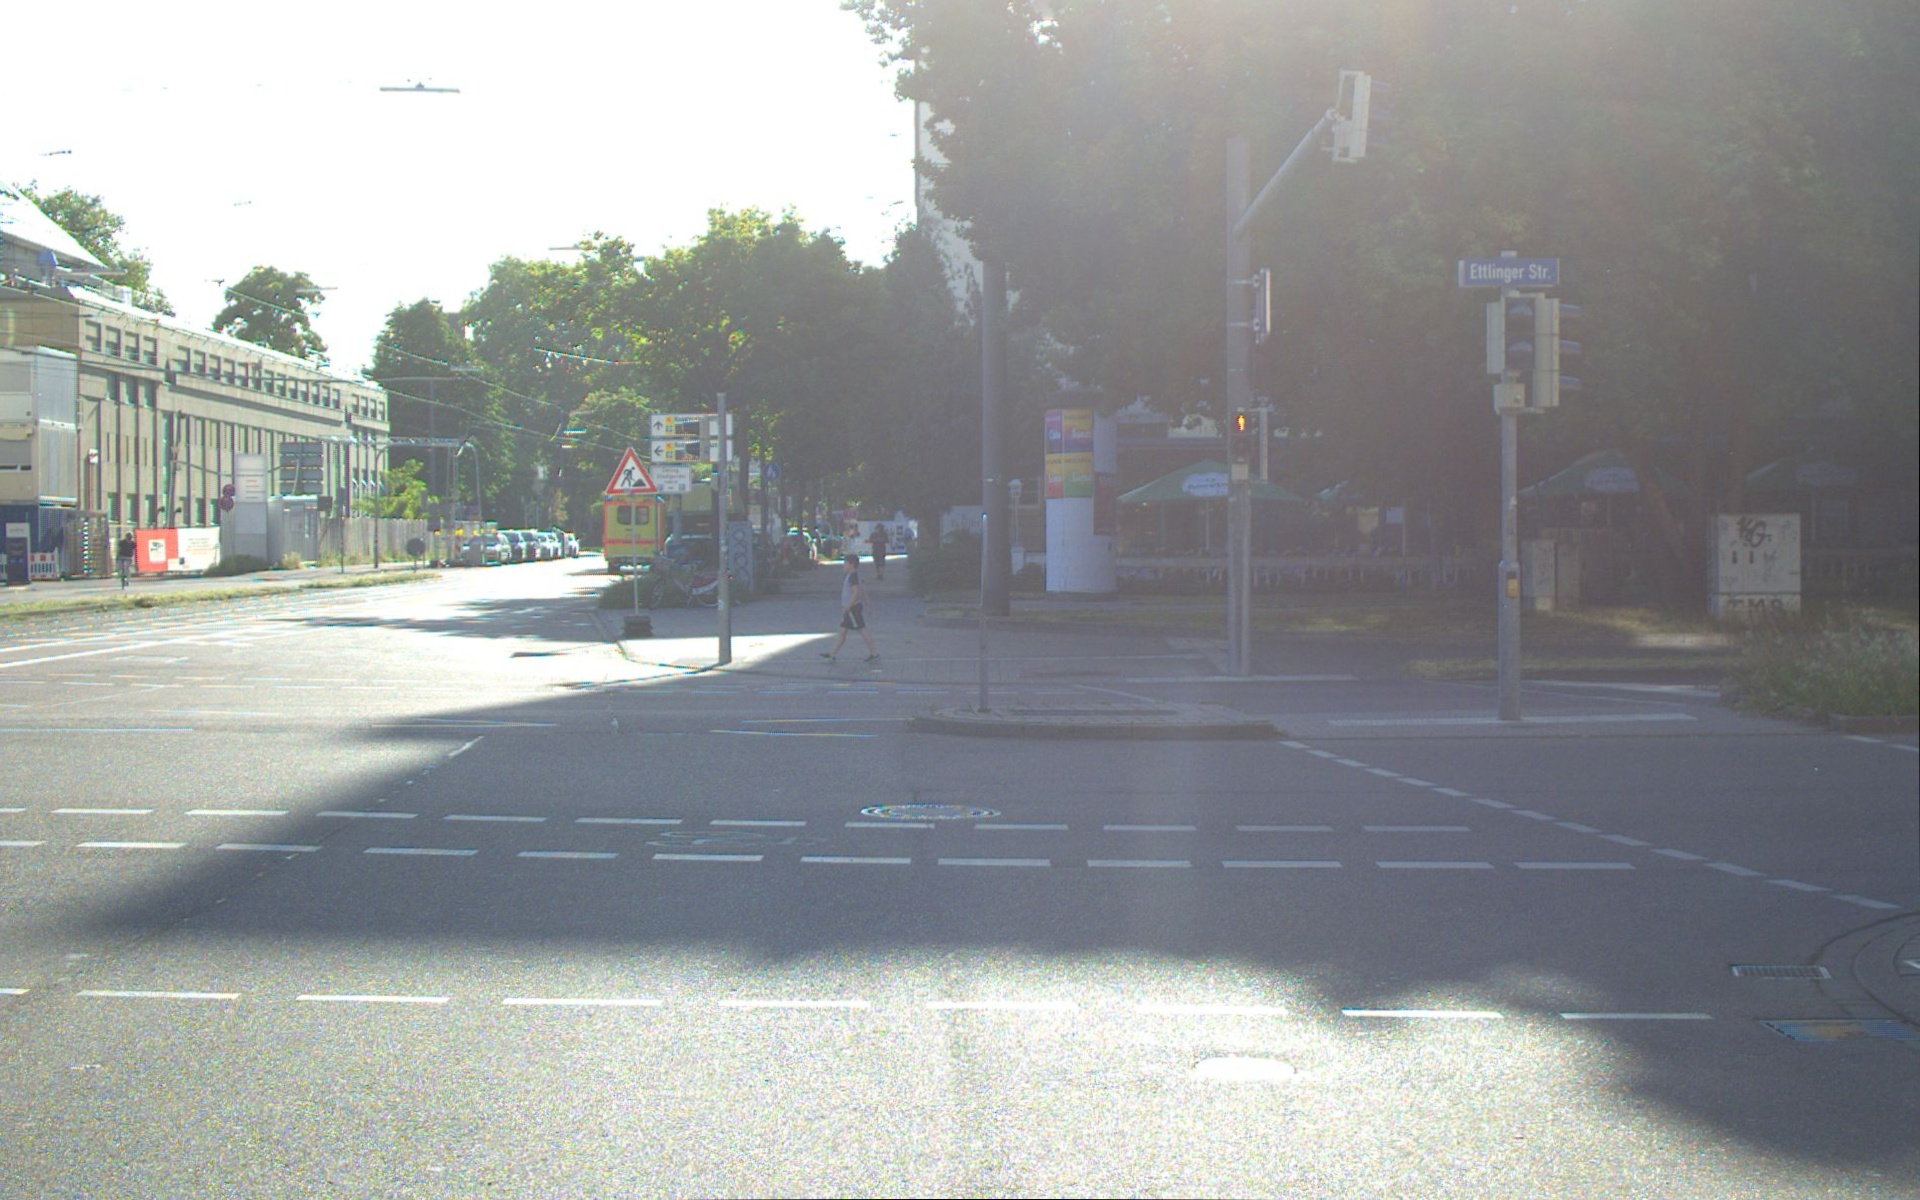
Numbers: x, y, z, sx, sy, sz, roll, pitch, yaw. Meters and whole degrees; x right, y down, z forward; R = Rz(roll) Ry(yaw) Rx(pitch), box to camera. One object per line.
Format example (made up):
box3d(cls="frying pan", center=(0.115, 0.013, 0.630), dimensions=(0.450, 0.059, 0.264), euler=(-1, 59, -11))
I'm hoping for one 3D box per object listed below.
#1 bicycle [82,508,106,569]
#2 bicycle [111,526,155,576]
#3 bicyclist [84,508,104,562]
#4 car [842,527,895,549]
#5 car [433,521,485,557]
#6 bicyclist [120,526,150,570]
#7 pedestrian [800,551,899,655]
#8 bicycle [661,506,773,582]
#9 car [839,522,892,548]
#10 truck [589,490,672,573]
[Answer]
box3d(cls="bicycle", center=(-32.762, -2.344, 130.095), dimensions=(0.571, 2.288, 1.422), euler=(0, 1, -2))
box3d(cls="bicycle", center=(-25.529, -1.497, 106.160), dimensions=(0.689, 1.506, 2.945), euler=(1, 1, -1))
box3d(cls="bicyclist", center=(-32.763, -2.462, 130.079), dimensions=(0.571, 2.017, 0.762), euler=(0, 1, -2))
box3d(cls="car", center=(-5.637, -3.815, 211.275), dimensions=(3.217, 1.259, 1.373), euler=(1, 0, -1))
box3d(cls="car", center=(-22.811, -2.773, 156.639), dimensions=(1.894, 1.601, 4.501), euler=(-1, 1, -2))
box3d(cls="bicyclist", center=(-25.480, -1.603, 106.229), dimensions=(0.689, 1.323, 1.000), euler=(1, 0, -1))
box3d(cls="pedestrian", center=(-1.421, 0.034, 44.071), dimensions=(0.995, 1.313, 0.765), euler=(0, 1, 37))
box3d(cls="bicycle", center=(-5.749, -1.323, 81.403), dimensions=(2.547, 1.737, 1.037), euler=(1, 0, 0))
box3d(cls="car", center=(-5.875, -4.031, 213.433), dimensions=(3.214, 1.583, 1.446), euler=(1, 0, -4))
box3d(cls="truck", center=(-12.144, -2.528, 127.285), dimensions=(2.716, 3.005, 6.490), euler=(0, 1, -2))
